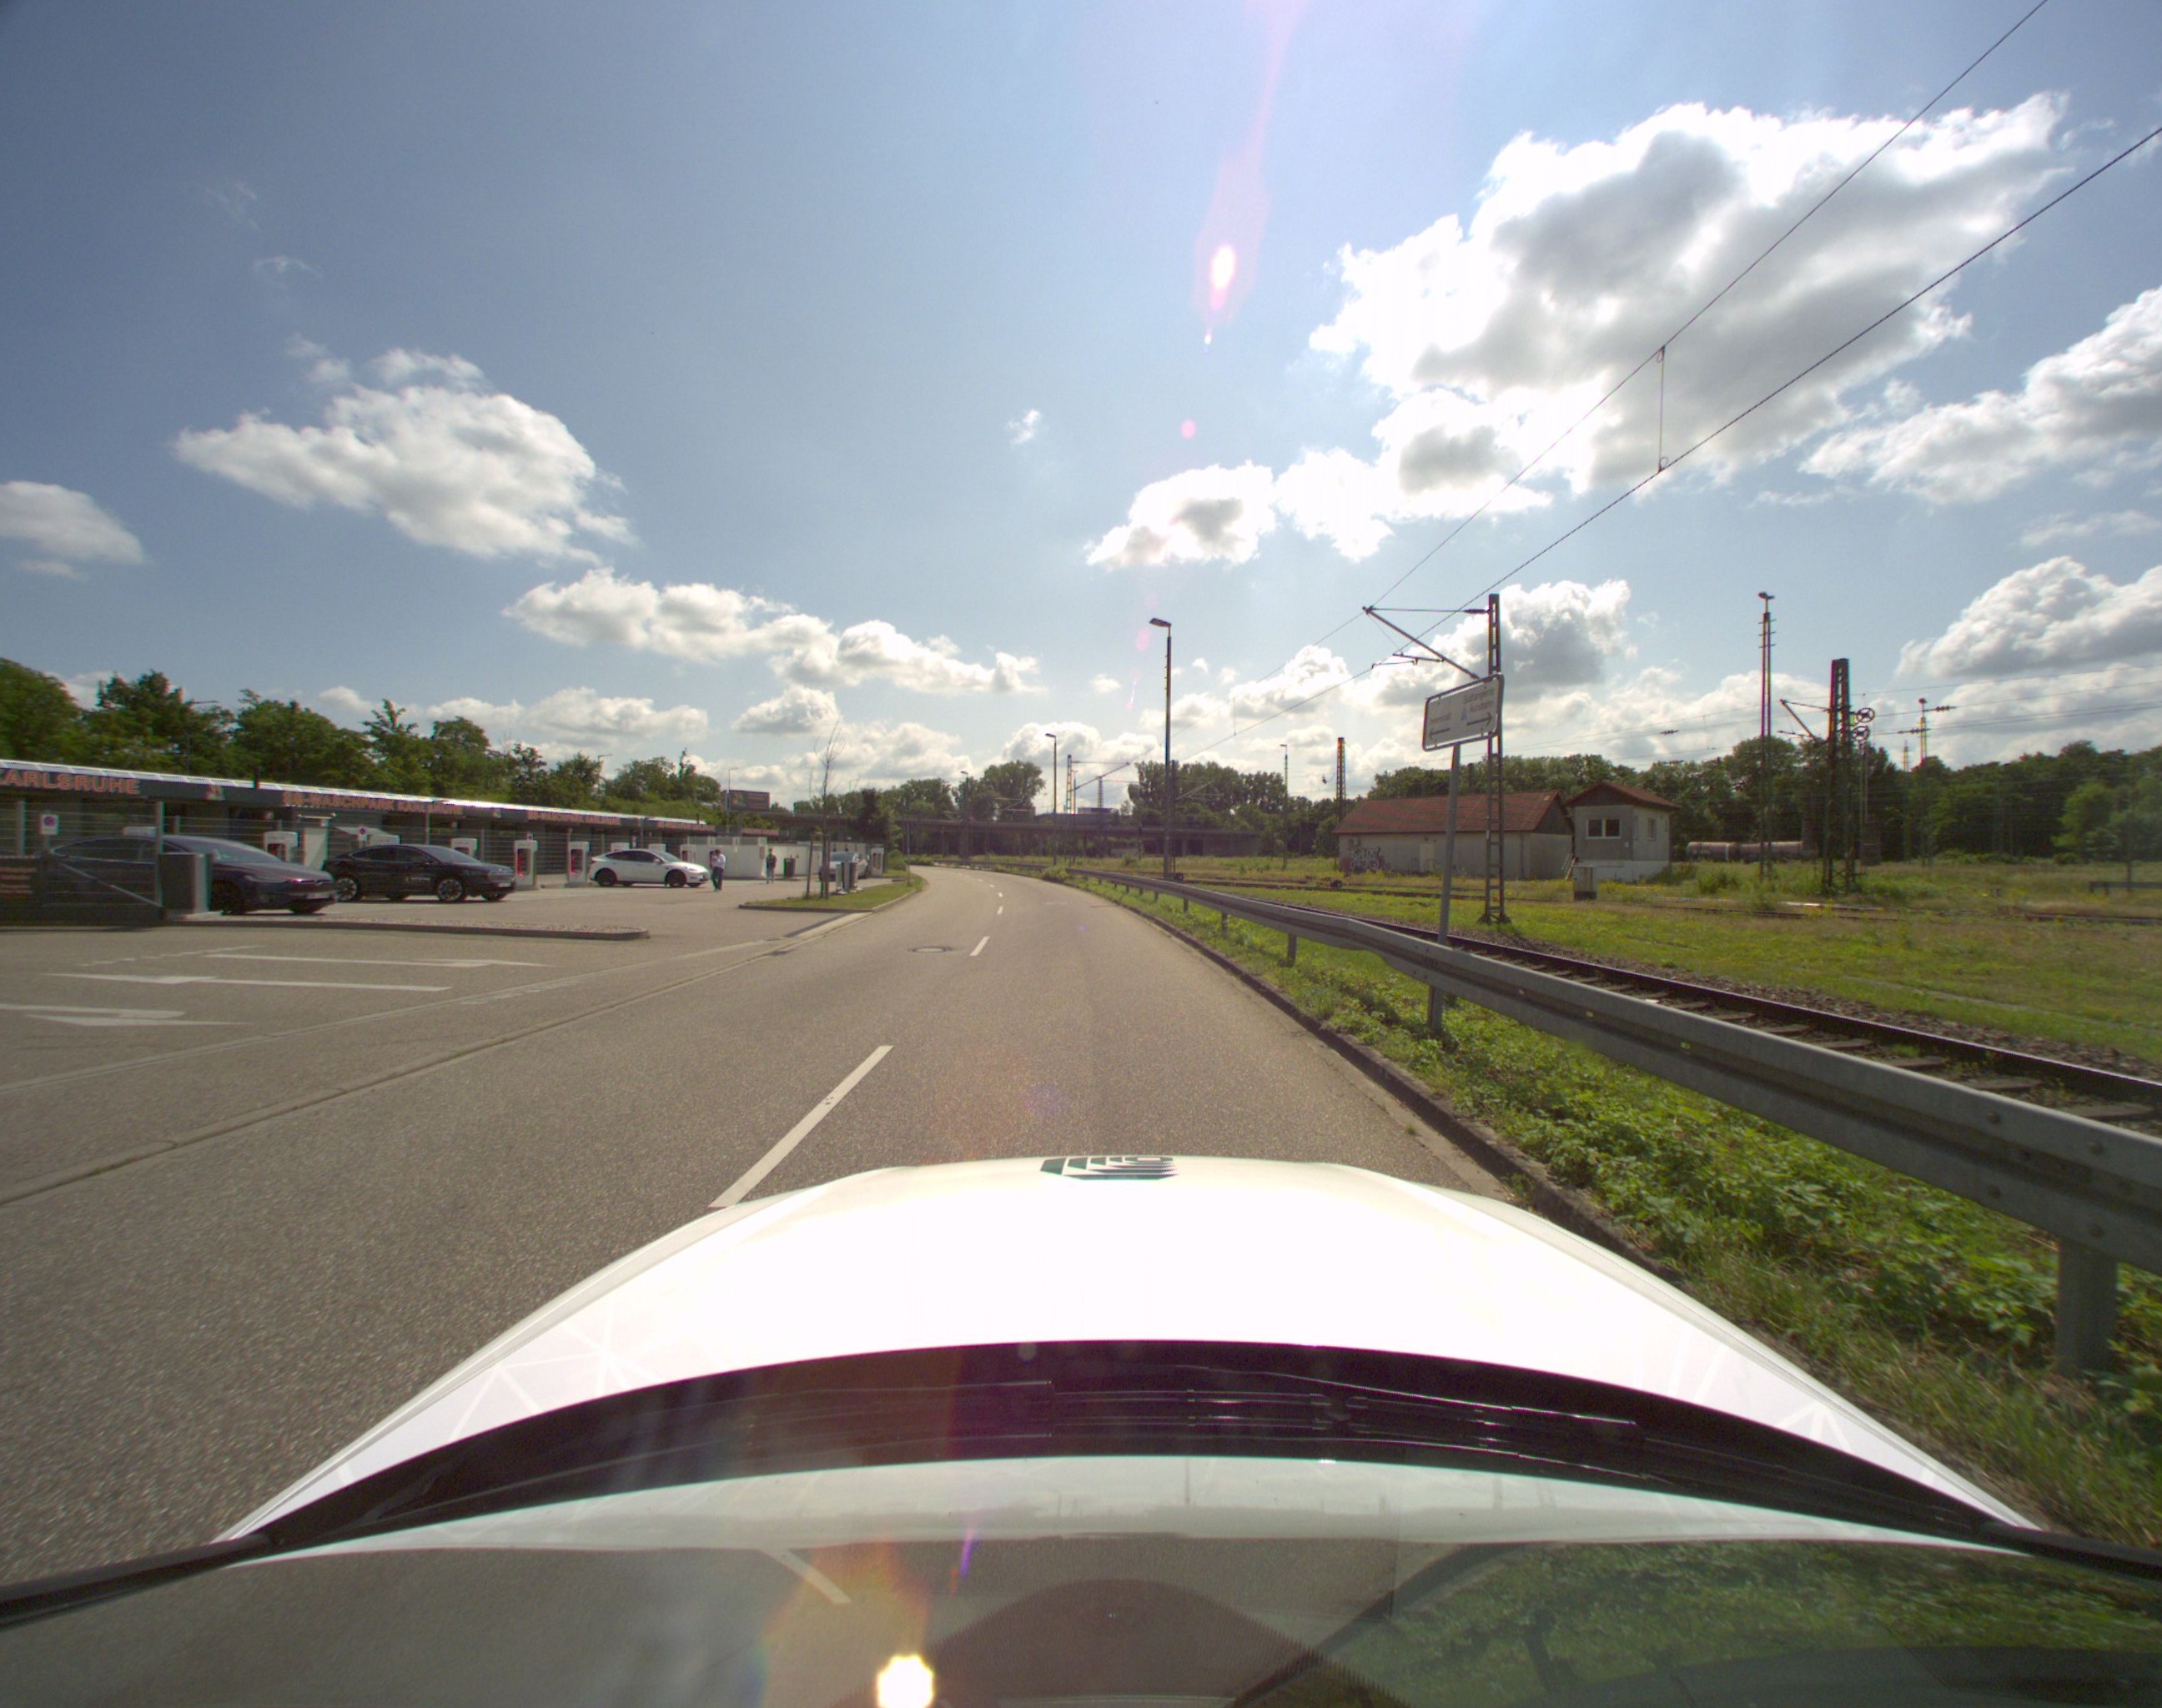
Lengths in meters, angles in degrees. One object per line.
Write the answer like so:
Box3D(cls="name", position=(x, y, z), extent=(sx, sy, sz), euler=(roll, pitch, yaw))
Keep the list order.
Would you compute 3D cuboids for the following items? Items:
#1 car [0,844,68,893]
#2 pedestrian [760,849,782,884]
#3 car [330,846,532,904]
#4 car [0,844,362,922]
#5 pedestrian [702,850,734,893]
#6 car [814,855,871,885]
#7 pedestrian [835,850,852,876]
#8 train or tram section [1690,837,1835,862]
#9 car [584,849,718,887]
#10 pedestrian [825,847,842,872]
Box3D(cls="car", position=(-36.753, 0.484, 26.891), extent=(3.976, 1.562, 1.999), euler=(0, -1, -2))
Box3D(cls="pedestrian", position=(-15.787, 0.615, 41.525), extent=(0.862, 1.752, 0.725), euler=(1, -1, -9))
Box3D(cls="car", position=(-18.202, 0.579, 22.989), extent=(3.977, 1.519, 1.998), euler=(1, -1, -3))
Box3D(cls="car", position=(-18.352, 0.560, 16.864), extent=(4.736, 1.455, 2.234), euler=(1, 0, -4))
Box3D(cls="pedestrian", position=(-14.218, 0.688, 31.905), extent=(0.860, 1.653, 0.939), euler=(1, -1, -4))
Box3D(cls="car", position=(-13.801, 0.884, 47.371), extent=(1.925, 1.517, 4.773), euler=(1, 1, -1))
Box3D(cls="pedestrian", position=(-14.802, 0.559, 50.717), extent=(0.704, 1.579, 0.726), euler=(-1, -1, 36))
Box3D(cls="train or tram section", position=(96.779, -0.595, 116.204), extent=(3.051, 3.305, 15.568), euler=(1, -1, -42))
Box3D(cls="car", position=(-18.223, 0.599, 34.684), extent=(4.542, 1.524, 1.997), euler=(1, -1, -4))
Box3D(cls="pedestrian", position=(-15.510, 0.356, 51.080), extent=(0.749, 1.565, 0.718), euler=(-1, -1, 37))
